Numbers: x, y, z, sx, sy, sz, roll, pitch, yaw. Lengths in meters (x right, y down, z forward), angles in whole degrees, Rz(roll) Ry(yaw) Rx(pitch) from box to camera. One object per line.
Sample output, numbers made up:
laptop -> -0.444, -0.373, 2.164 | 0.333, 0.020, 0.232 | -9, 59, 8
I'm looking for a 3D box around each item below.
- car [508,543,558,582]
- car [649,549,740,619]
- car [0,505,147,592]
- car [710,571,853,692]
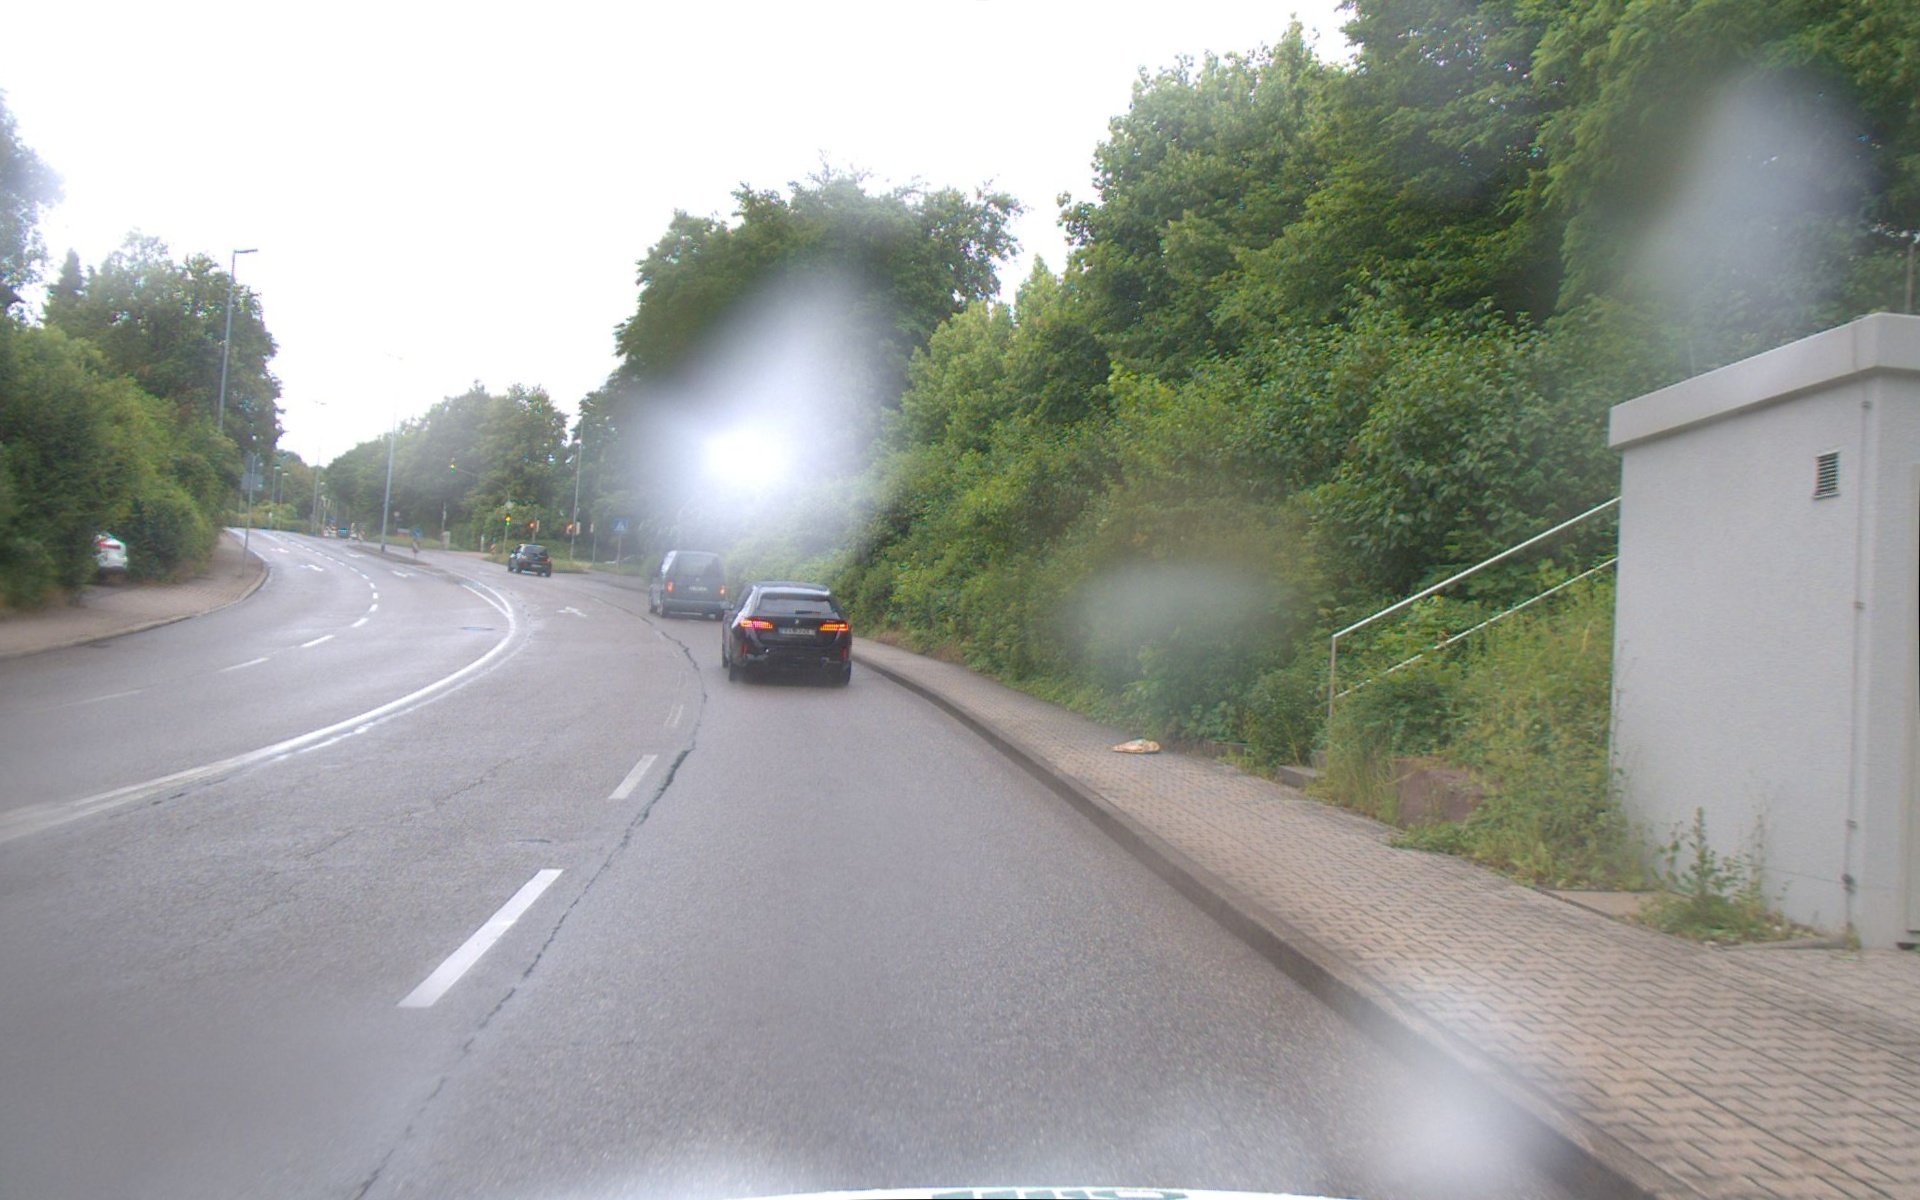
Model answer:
car -> -21.471, -1.857, 83.043 | 1.826, 1.691, 3.972 | 5, -2, -23
car -> -7.458, -0.464, 46.200 | 1.961, 1.779, 3.983 | 3, 1, -16
car -> -21.400, -1.281, 38.675 | 3.934, 1.471, 1.844 | 11, -2, -22
car -> -2.884, 0.456, 26.307 | 1.956, 1.613, 4.655 | 4, 0, -7
